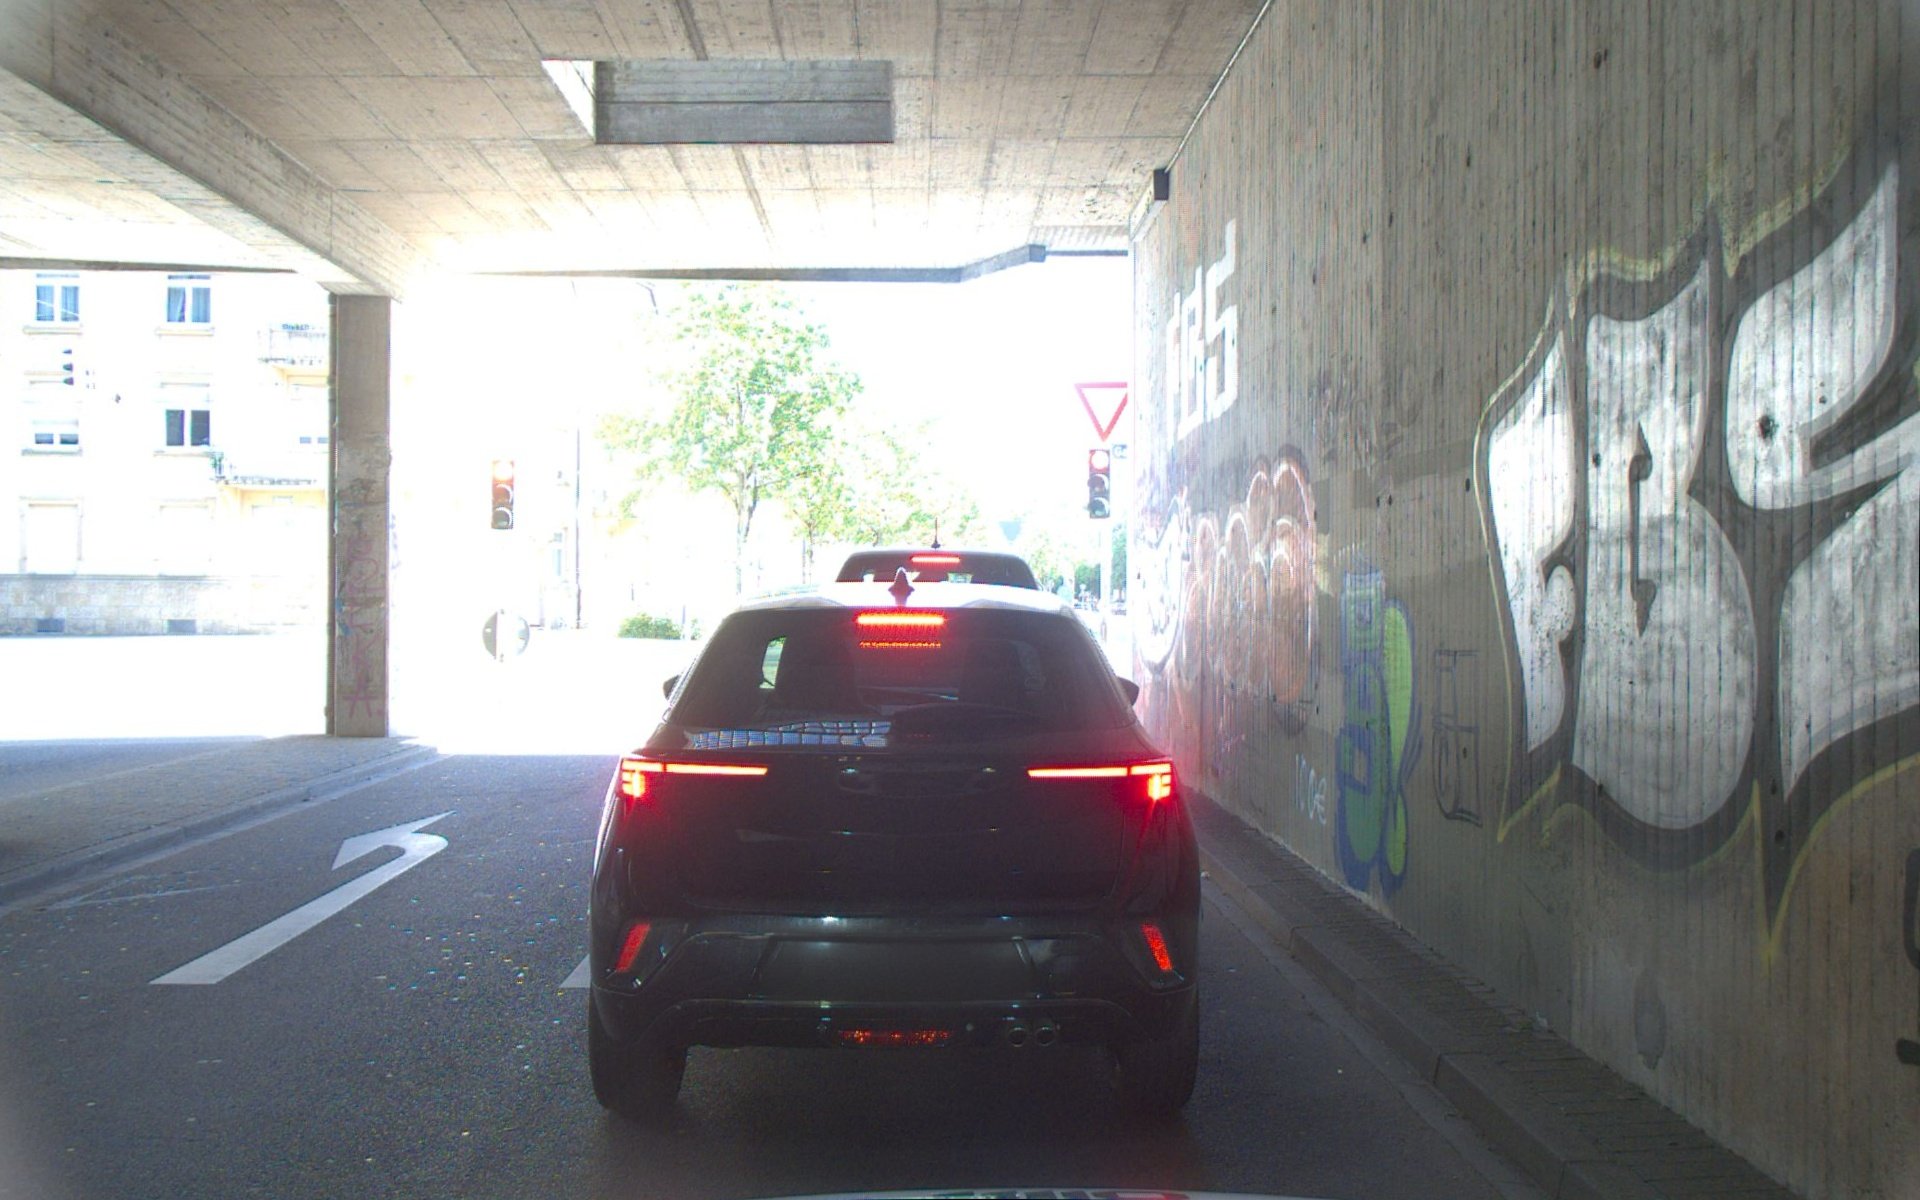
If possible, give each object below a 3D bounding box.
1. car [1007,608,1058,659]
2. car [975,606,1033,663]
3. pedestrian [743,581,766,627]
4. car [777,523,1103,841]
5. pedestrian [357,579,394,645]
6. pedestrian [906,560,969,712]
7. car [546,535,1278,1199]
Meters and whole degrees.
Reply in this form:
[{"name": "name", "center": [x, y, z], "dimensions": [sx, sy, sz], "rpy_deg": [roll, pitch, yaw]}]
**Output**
[{"name": "car", "center": [3.045, 1.355, 68.497], "dimensions": [1.951, 2.004, 4.166], "rpy_deg": [1, 0, 4]}, {"name": "car", "center": [1.698, 1.268, 62.344], "dimensions": [1.951, 2.004, 4.166], "rpy_deg": [1, 0, 4]}, {"name": "pedestrian", "center": [-9.675, 0.195, 77.867], "dimensions": [0.873, 2.124, 0.808], "rpy_deg": [1, -1, 7]}, {"name": "car", "center": [-0.147, 0.479, 11.942], "dimensions": [1.953, 1.904, 3.999], "rpy_deg": [0, 0, -1]}, {"name": "pedestrian", "center": [-14.907, 0.305, 42.198], "dimensions": [0.658, 1.666, 0.740], "rpy_deg": [1, -1, -1]}, {"name": "pedestrian", "center": [-0.270, 0.422, 19.827], "dimensions": [0.716, 1.764, 0.874], "rpy_deg": [1, -1, -1]}, {"name": "car", "center": [-0.142, 0.613, 5.971], "dimensions": [1.729, 1.598, 4.000], "rpy_deg": [1, 1, -1]}]
